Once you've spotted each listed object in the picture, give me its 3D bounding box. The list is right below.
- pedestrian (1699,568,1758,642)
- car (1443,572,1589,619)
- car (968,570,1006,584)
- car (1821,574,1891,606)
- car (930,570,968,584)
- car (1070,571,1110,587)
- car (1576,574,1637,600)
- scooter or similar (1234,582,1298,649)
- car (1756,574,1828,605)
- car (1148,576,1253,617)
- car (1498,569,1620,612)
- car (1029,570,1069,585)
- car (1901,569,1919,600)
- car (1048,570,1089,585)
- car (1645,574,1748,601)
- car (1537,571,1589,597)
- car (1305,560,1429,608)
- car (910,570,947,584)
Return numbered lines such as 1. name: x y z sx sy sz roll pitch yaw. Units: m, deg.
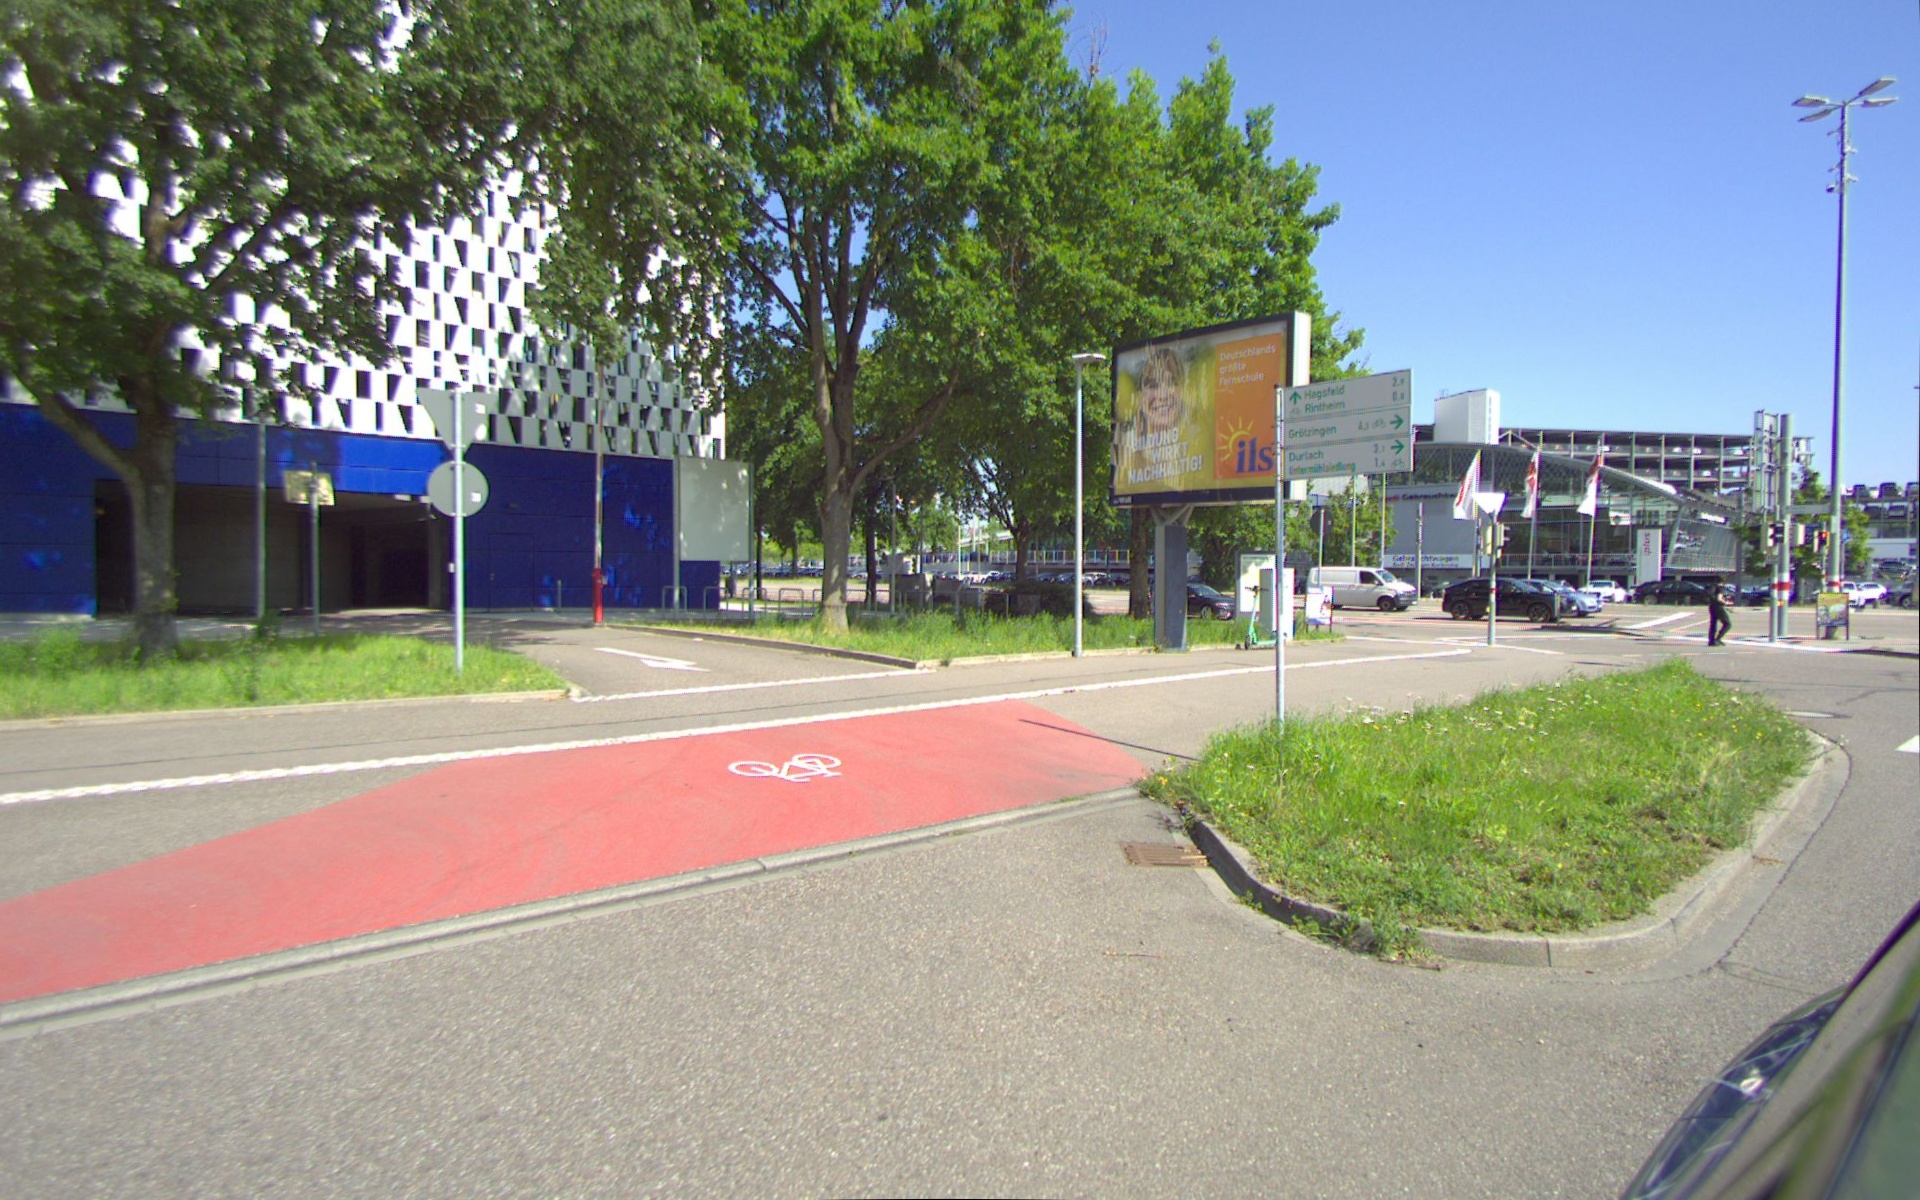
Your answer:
1. pedestrian: 19.067 0.108 25.105 0.939 1.802 0.708 0 1 -18
2. car: 20.723 -0.188 37.862 1.687 1.647 4.493 -3 2 -43
3. car: 2.507 -2.169 95.060 3.355 1.264 1.594 -1 2 -39
4. car: 44.520 -0.522 50.289 3.927 1.478 1.888 -2 2 -37
5. car: -1.038 -2.145 95.543 3.355 1.264 1.594 -1 2 -39
6. car: 11.086 -1.812 86.067 3.113 1.341 1.640 -1 2 -39
7. car: 37.152 -0.753 58.148 4.045 1.439 2.001 -1 2 -43
8. scooter or similar: 5.645 0.281 18.683 1.160 1.181 0.403 -1 2 -25
9. car: 42.768 -0.558 52.007 3.926 1.479 1.999 -1 2 -37
10. car: 10.030 -0.193 42.523 1.738 1.482 4.241 -2 4 -34
11. car: 23.793 -0.419 40.330 1.727 1.632 3.830 -2 2 -36
12. car: 7.853 -1.962 89.138 3.353 1.264 1.595 -1 2 -36
13. car: 50.384 -0.749 50.788 1.945 1.607 4.476 -1 2 -41
14. car: 9.405 -1.903 87.537 3.355 1.264 1.594 -1 2 -39
15. car: 40.464 -0.706 55.646 1.791 1.366 4.341 -1 2 -44
16. car: 35.978 -0.949 60.368 1.782 1.489 3.826 2 2 45
17. car: 18.354 -0.772 45.832 1.712 2.032 4.989 -2 3 -43
18. car: -3.037 -2.217 97.963 3.355 1.264 1.594 -1 2 -39
